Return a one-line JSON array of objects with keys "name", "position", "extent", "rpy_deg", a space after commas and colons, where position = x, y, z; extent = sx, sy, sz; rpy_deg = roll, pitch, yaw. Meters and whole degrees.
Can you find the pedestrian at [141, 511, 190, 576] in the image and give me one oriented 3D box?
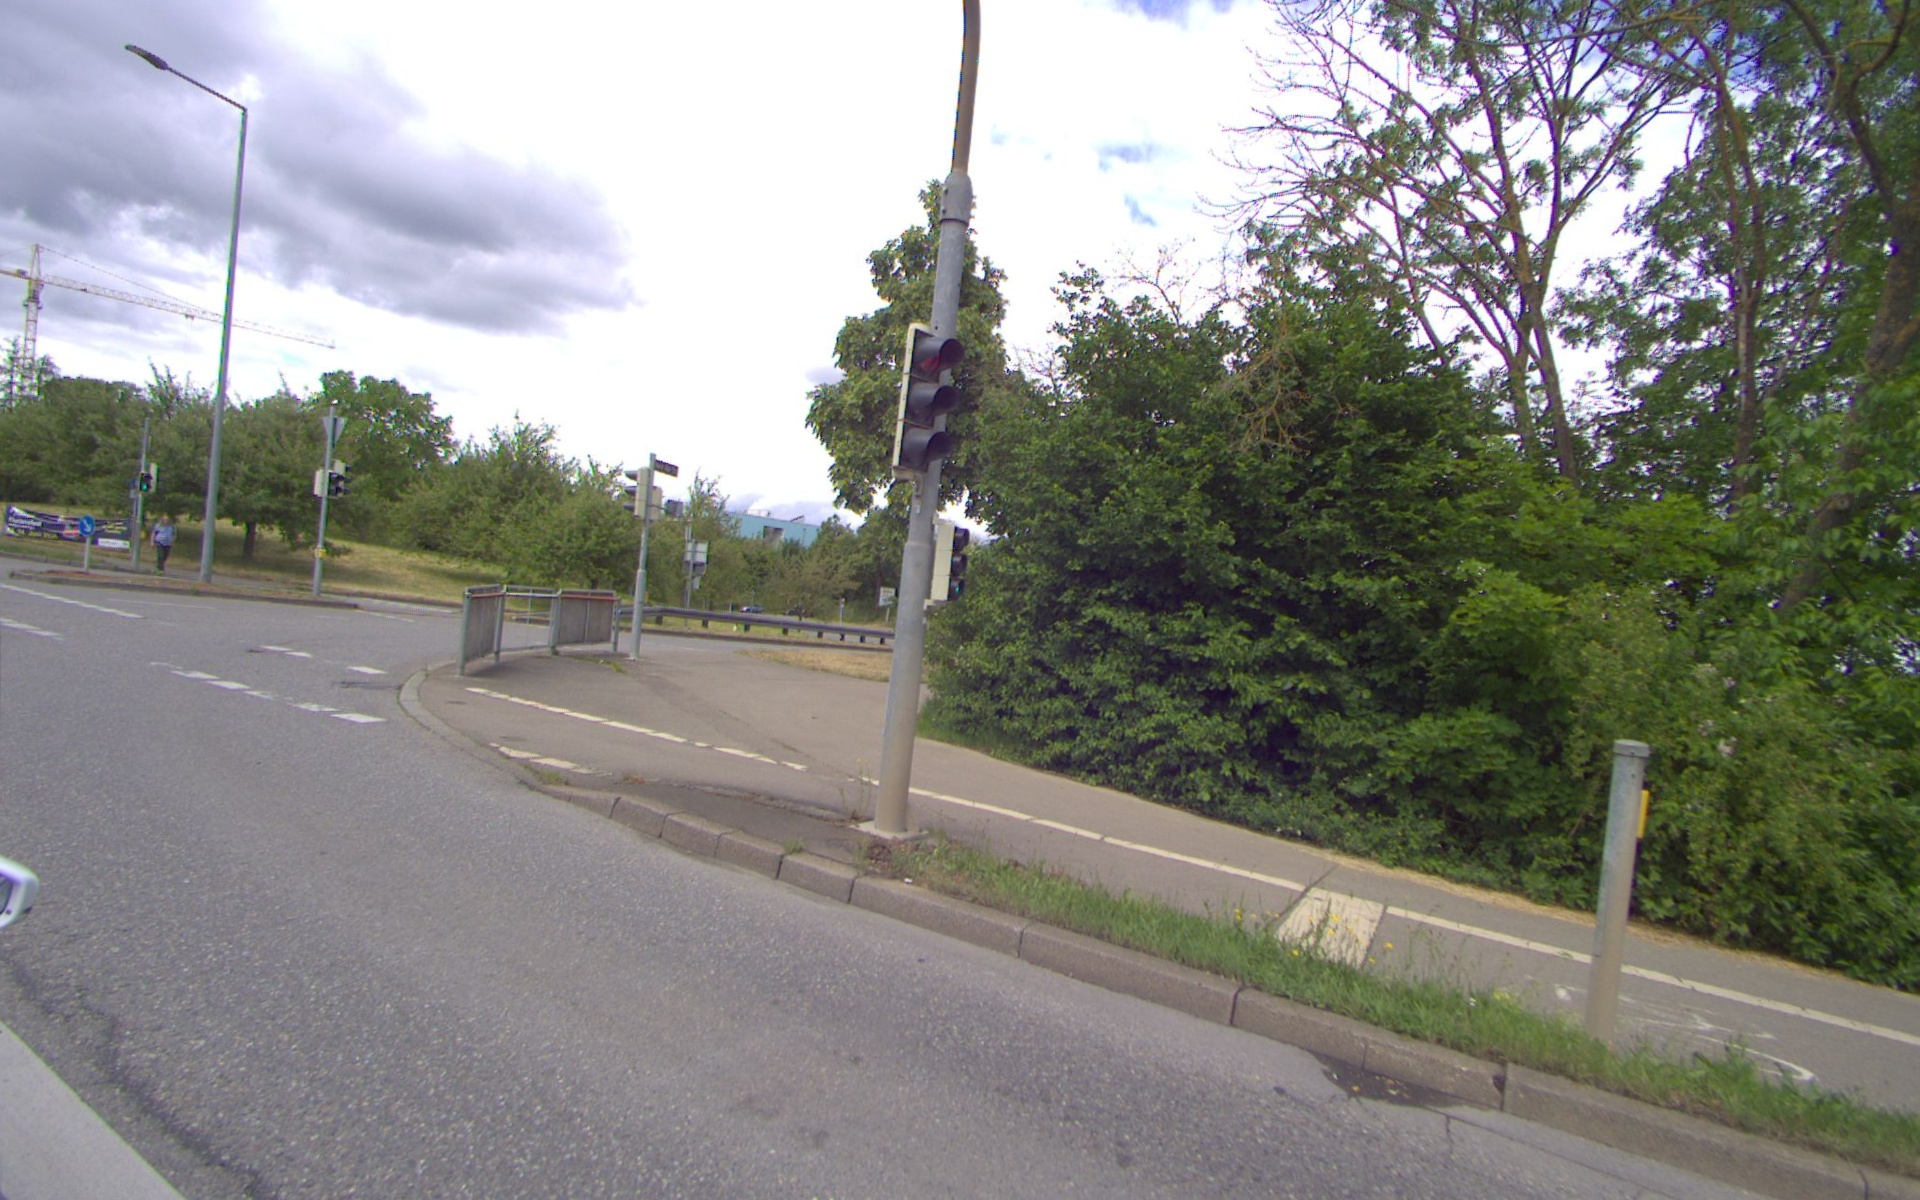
[{"name": "pedestrian", "position": [-23.981, -1.706, 30.361], "extent": [1.027, 1.813, 0.718], "rpy_deg": [6, -1, 35]}]
